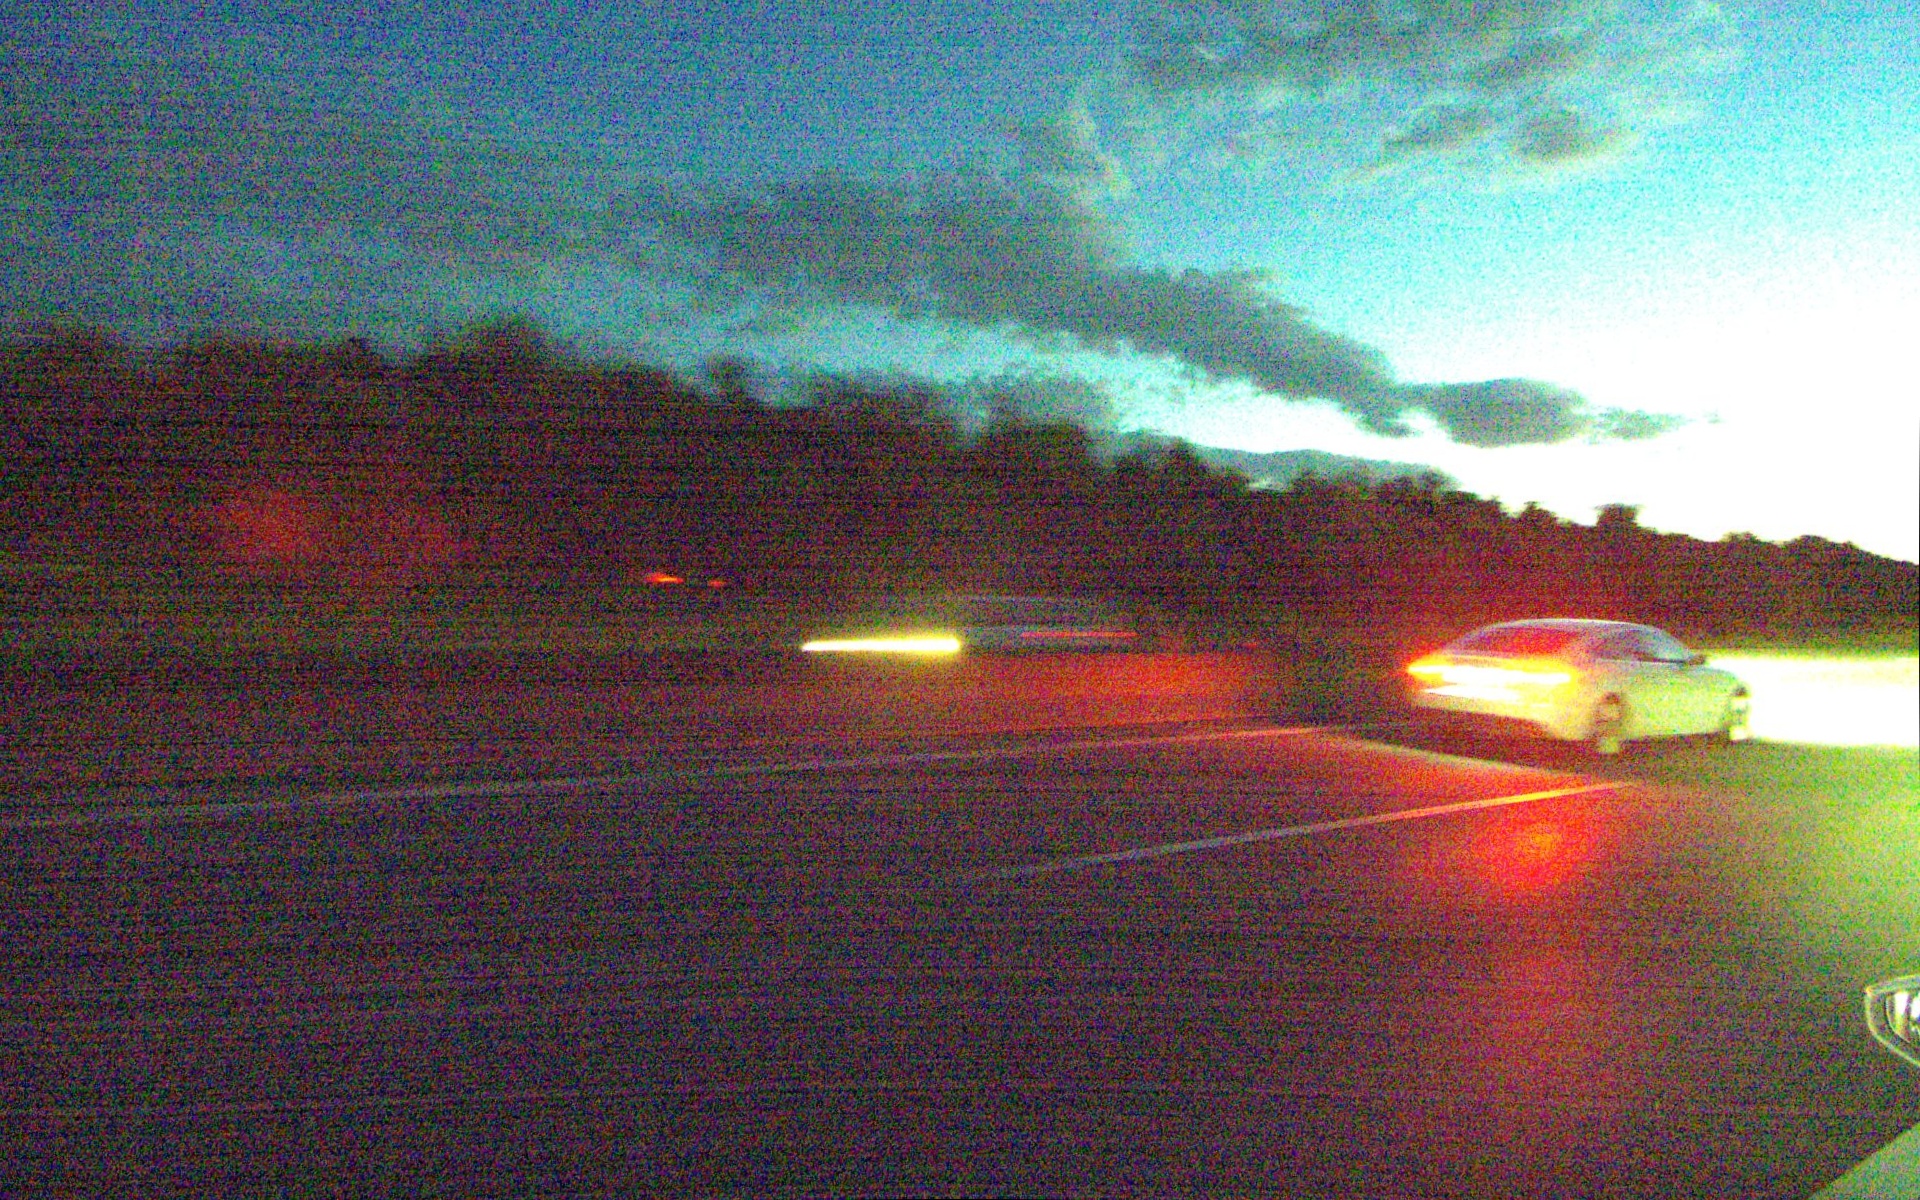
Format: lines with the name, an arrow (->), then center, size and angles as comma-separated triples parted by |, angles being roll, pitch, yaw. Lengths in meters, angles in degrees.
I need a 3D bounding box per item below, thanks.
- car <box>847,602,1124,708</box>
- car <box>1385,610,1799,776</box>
car -> 0.610, 1.123, 21.928 | 5.675, 2.040, 2.322 | 1, 0, -30
car -> 7.267, 0.921, 11.370 | 5.192, 1.506, 1.771 | 1, 0, -30
